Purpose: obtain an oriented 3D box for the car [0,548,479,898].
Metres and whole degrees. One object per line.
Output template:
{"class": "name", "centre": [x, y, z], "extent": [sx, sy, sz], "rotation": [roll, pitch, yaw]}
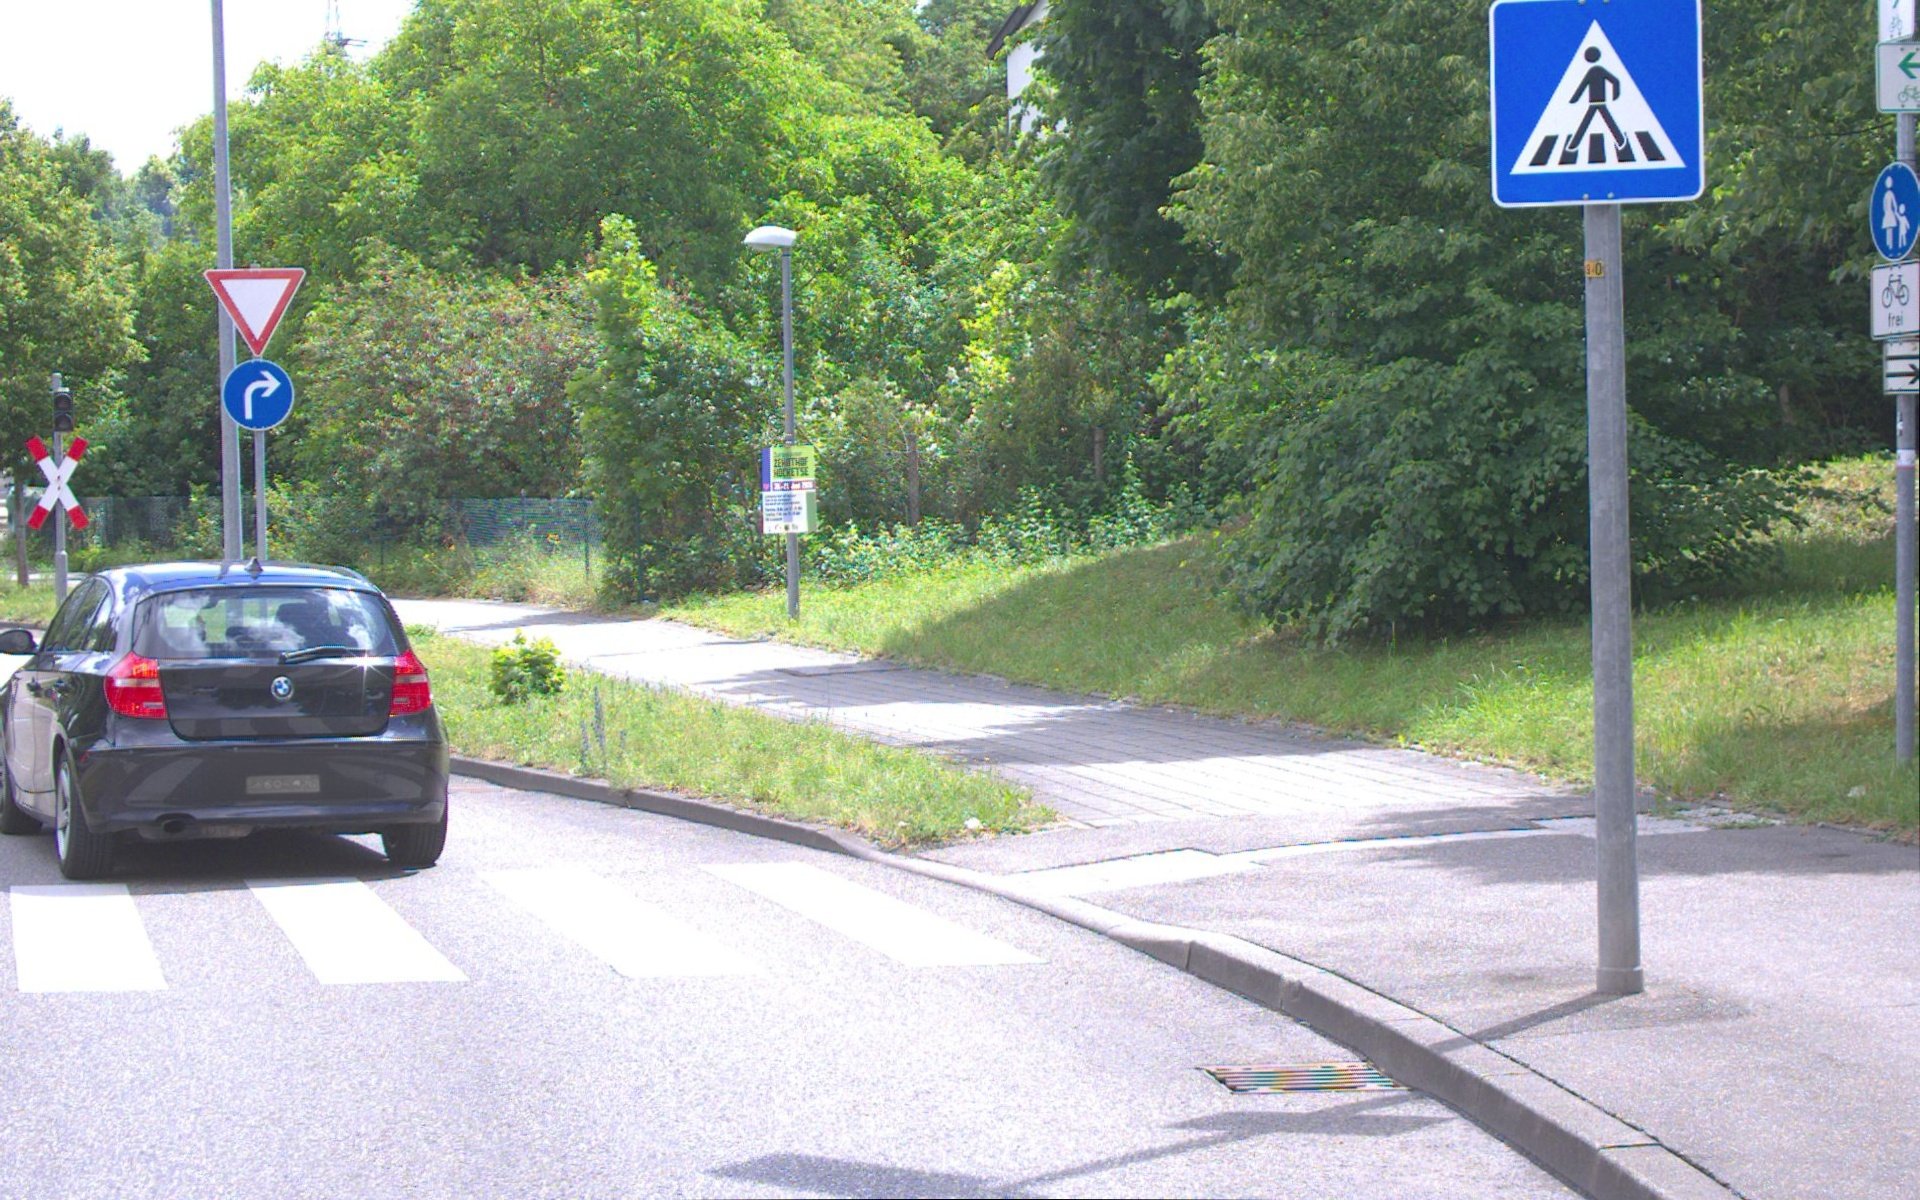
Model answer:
{"class": "car", "centre": [-3.648, 0.519, 16.695], "extent": [1.815, 1.416, 4.001], "rotation": [-2, 1, -19]}
